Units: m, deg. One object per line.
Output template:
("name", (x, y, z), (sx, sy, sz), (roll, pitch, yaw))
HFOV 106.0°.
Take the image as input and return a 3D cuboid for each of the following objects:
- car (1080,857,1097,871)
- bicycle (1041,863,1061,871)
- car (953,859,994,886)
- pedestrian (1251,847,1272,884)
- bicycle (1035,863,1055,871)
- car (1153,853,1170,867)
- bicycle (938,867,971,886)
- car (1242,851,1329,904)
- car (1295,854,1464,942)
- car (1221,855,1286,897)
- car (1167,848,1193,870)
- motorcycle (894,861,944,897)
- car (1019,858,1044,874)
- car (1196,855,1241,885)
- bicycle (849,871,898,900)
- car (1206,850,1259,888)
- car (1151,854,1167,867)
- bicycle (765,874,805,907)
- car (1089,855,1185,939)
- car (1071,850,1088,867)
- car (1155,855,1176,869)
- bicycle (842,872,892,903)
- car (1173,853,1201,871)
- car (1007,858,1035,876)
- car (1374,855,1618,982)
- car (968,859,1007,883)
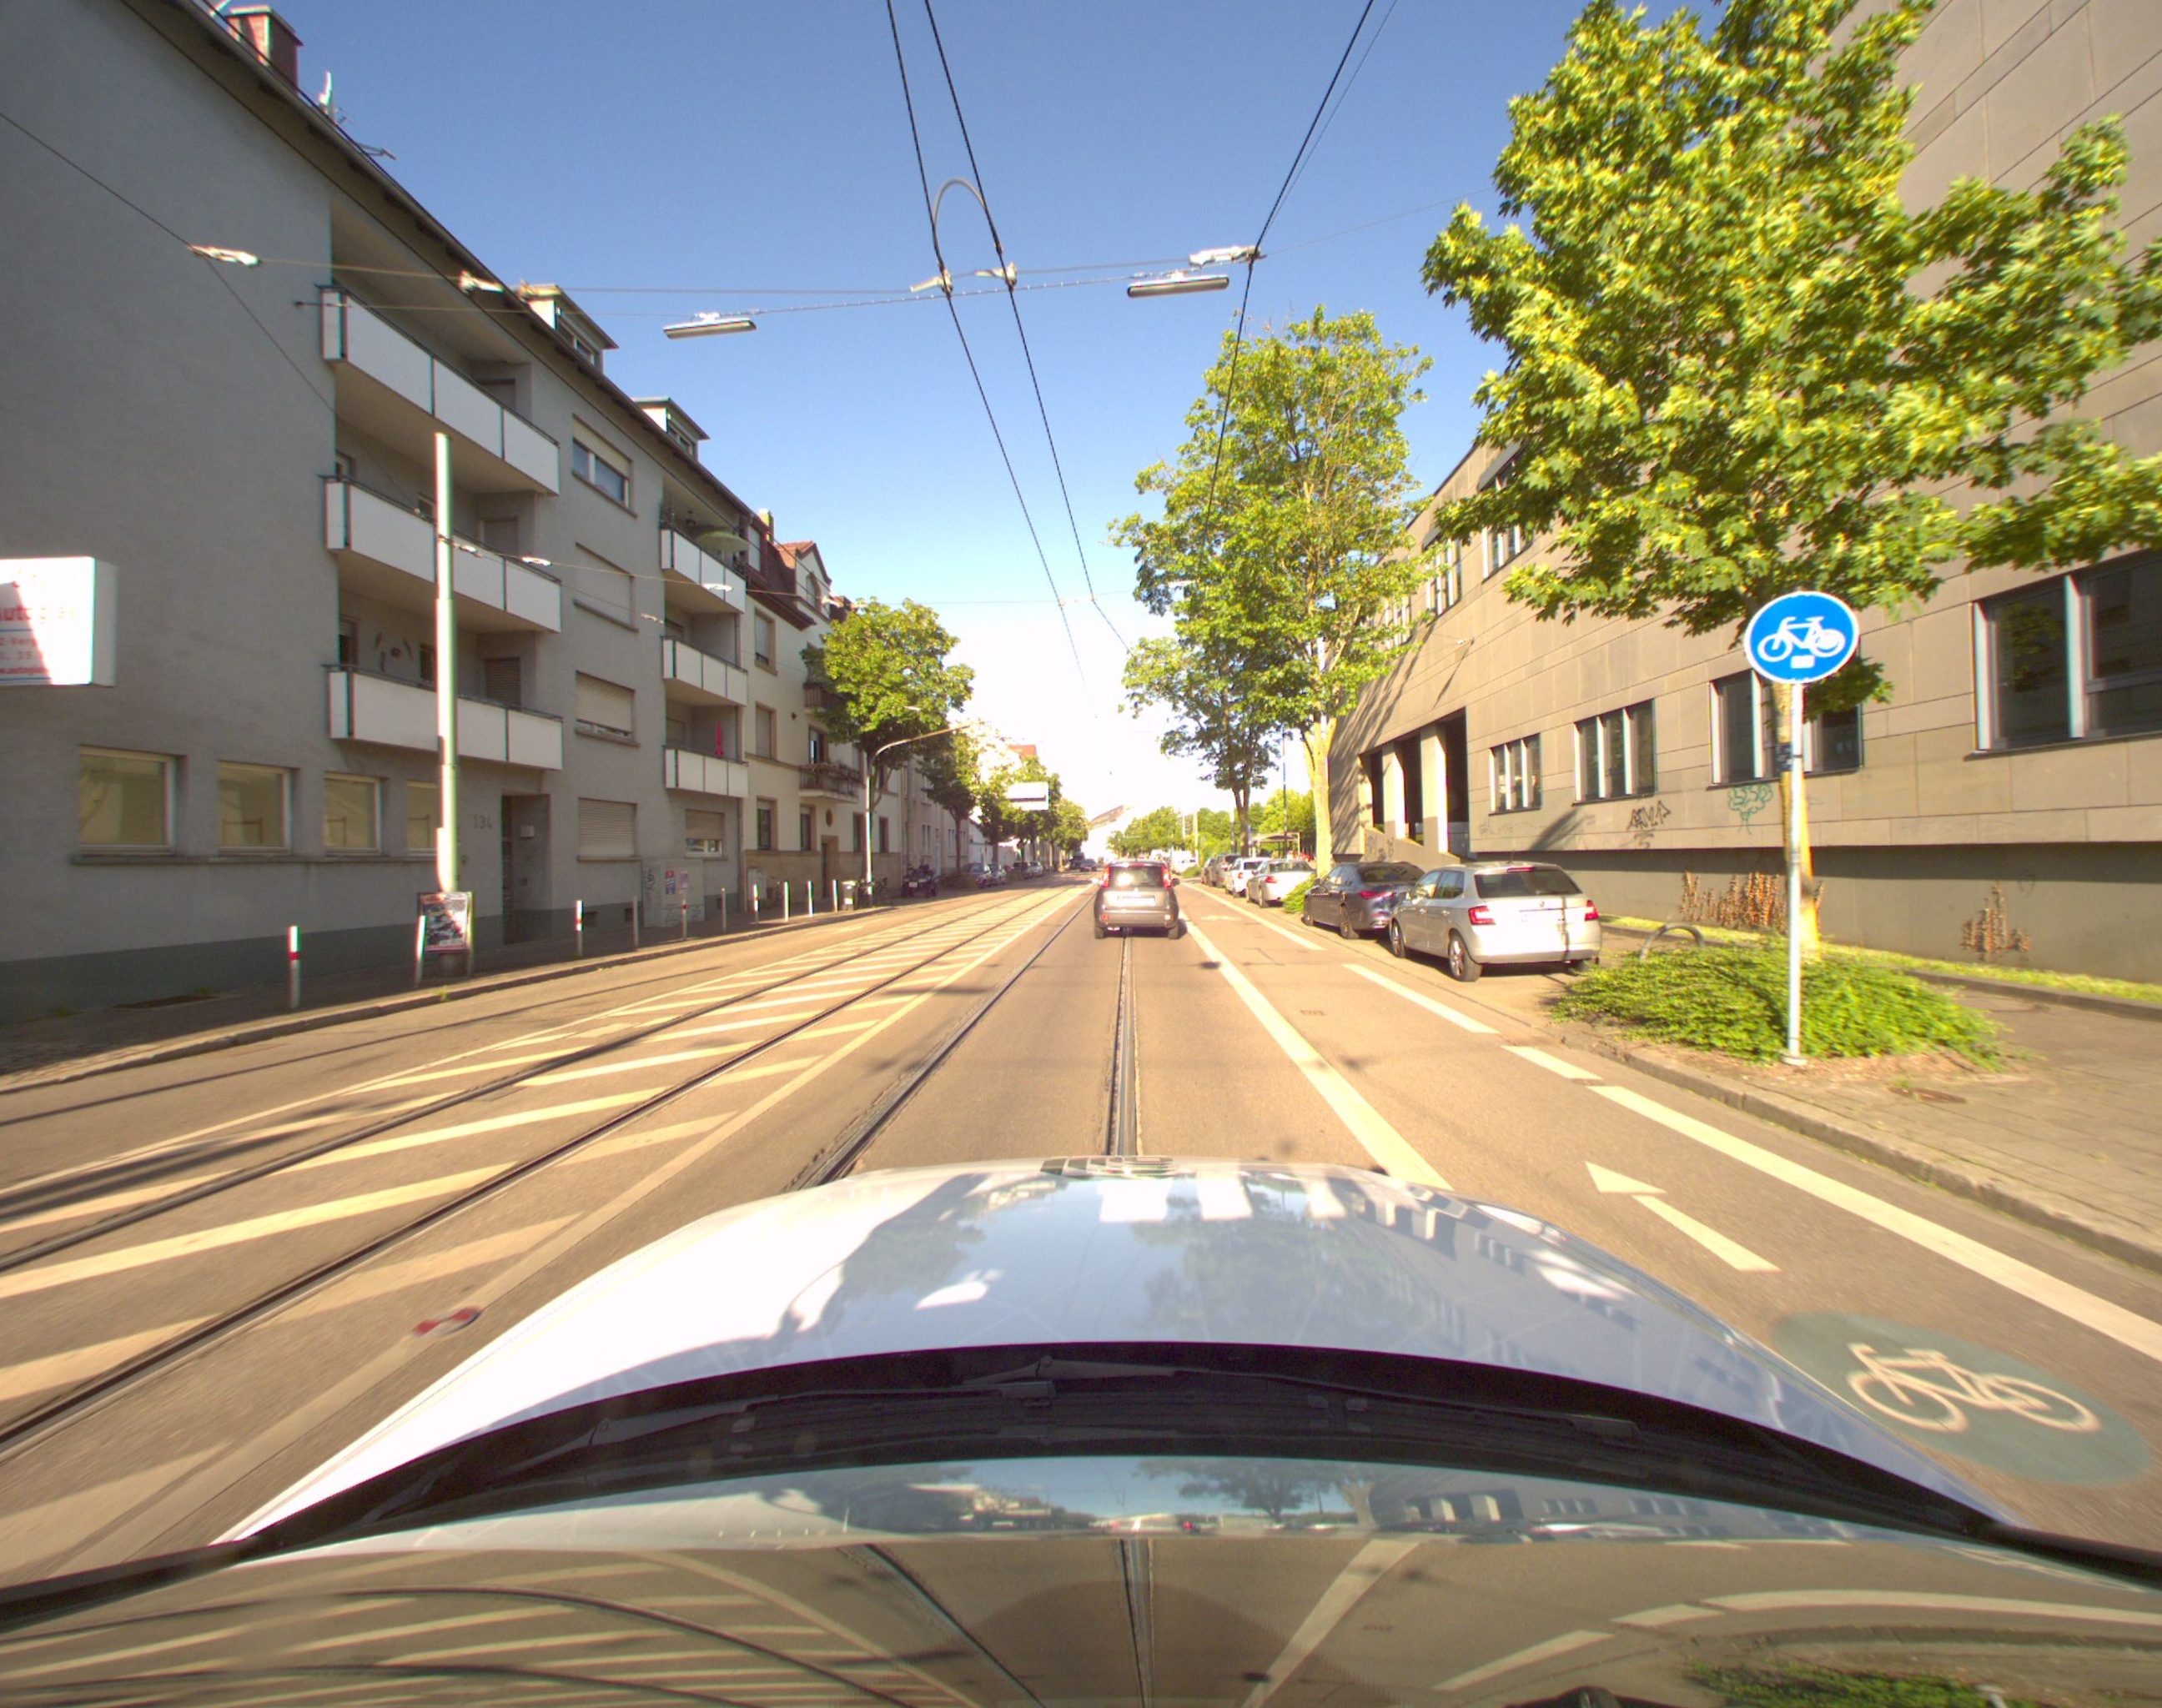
("car", (0.901, 1.153, 91.325), (1.774, 1.492, 4.190), (-1, 0, 2))
("bicycle", (-3.438, 1.465, 92.717), (2.295, 0.930, 0.796), (-2, 0, 38))
("car", (-6.314, 1.075, 48.315), (1.791, 1.486, 4.001), (-2, 0, 1))
("pedestrian", (9.859, 0.619, 44.537), (0.964, 2.014, 1.026), (-2, 0, 4))
("bicycle", (-4.042, 1.473, 91.914), (2.237, 0.930, 0.796), (-2, 0, 38))
("car", (9.529, 0.670, 96.694), (1.689, 1.547, 4.002), (-2, 0, 2))
("bicycle", (-6.898, 1.238, 44.362), (1.748, 1.023, 0.606), (0, -1, -17))
("car", (6.229, 0.687, 25.265), (1.815, 1.464, 4.160), (-1, 0, 3))
("car", (5.841, 0.767, 16.579), (1.832, 1.490, 4.644), (-2, 0, 2))
("car", (6.511, 0.777, 31.203), (1.738, 1.458, 4.622), (-2, 0, 3))
("car", (9.029, 0.445, 74.597), (1.948, 1.905, 4.190), (-2, 0, 2))
("motorcycle", (-7.268, 1.081, 36.773), (1.452, 1.481, 3.103), (-2, 0, 2))
("car", (-4.602, 1.111, 76.356), (1.948, 1.419, 4.190), (-2, 0, 2))
("car", (7.346, 0.805, 43.844), (1.835, 1.483, 4.190), (-2, 0, 2))
("bicycle", (-7.577, 1.150, 29.722), (1.710, 1.033, 0.441), (0, -1, -18))
("car", (7.131, 0.679, 38.747), (1.810, 1.640, 4.106), (-2, 0, 2))
("car", (9.852, 0.815, 103.111), (1.689, 1.499, 4.002), (-2, 0, 2))
("bicycle", (-9.996, 1.210, 27.552), (0.504, 1.007, 2.021), (-2, 0, 3))
("car", (1.143, 0.808, 16.845), (1.724, 1.500, 4.003), (-1, -1, 3))
("car", (-0.257, 0.697, 131.095), (2.324, 2.569, 5.676), (-2, 0, 3))
("car", (9.105, 0.805, 88.287), (1.948, 1.419, 4.190), (-2, 0, 2))
("bicycle", (-7.345, 1.135, 27.980), (1.617, 1.044, 0.454), (0, -1, -29))
("car", (9.012, 0.672, 69.676), (1.907, 1.375, 4.190), (-2, 0, 2))
("car", (-5.045, 1.095, 69.051), (1.948, 1.419, 4.190), (-2, 0, 2))
("car", (5.594, 0.768, 11.570), (1.634, 1.455, 3.918), (-2, 0, 3))
("car", (-6.086, 1.104, 53.555), (1.948, 1.419, 4.190), (-2, 0, 2))
